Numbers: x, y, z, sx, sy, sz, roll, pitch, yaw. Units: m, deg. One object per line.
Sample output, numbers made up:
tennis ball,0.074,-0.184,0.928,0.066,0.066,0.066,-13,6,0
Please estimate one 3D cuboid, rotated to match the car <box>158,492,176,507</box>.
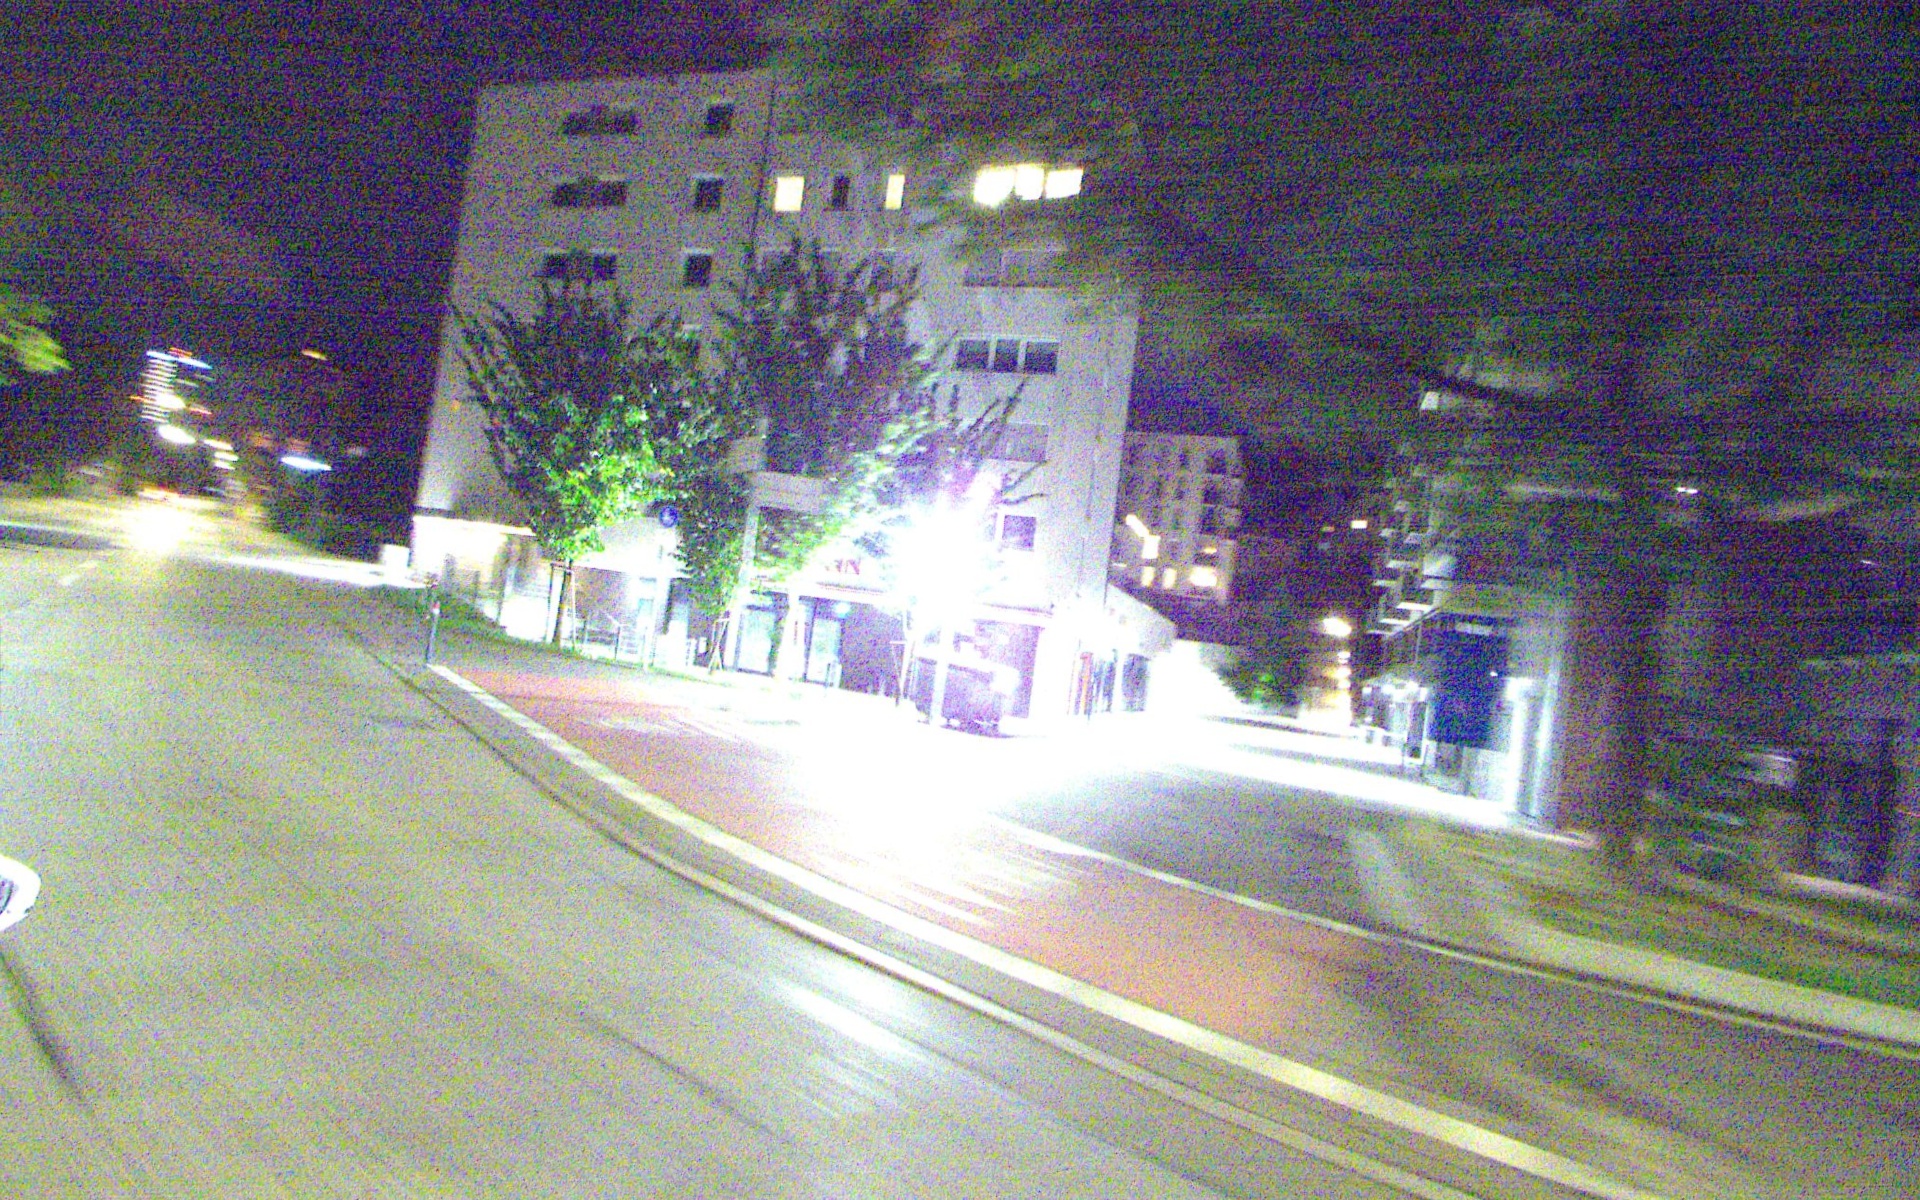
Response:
car,-118.418,-14.994,150.259,1.916,1.876,3.959,8,-2,-37
